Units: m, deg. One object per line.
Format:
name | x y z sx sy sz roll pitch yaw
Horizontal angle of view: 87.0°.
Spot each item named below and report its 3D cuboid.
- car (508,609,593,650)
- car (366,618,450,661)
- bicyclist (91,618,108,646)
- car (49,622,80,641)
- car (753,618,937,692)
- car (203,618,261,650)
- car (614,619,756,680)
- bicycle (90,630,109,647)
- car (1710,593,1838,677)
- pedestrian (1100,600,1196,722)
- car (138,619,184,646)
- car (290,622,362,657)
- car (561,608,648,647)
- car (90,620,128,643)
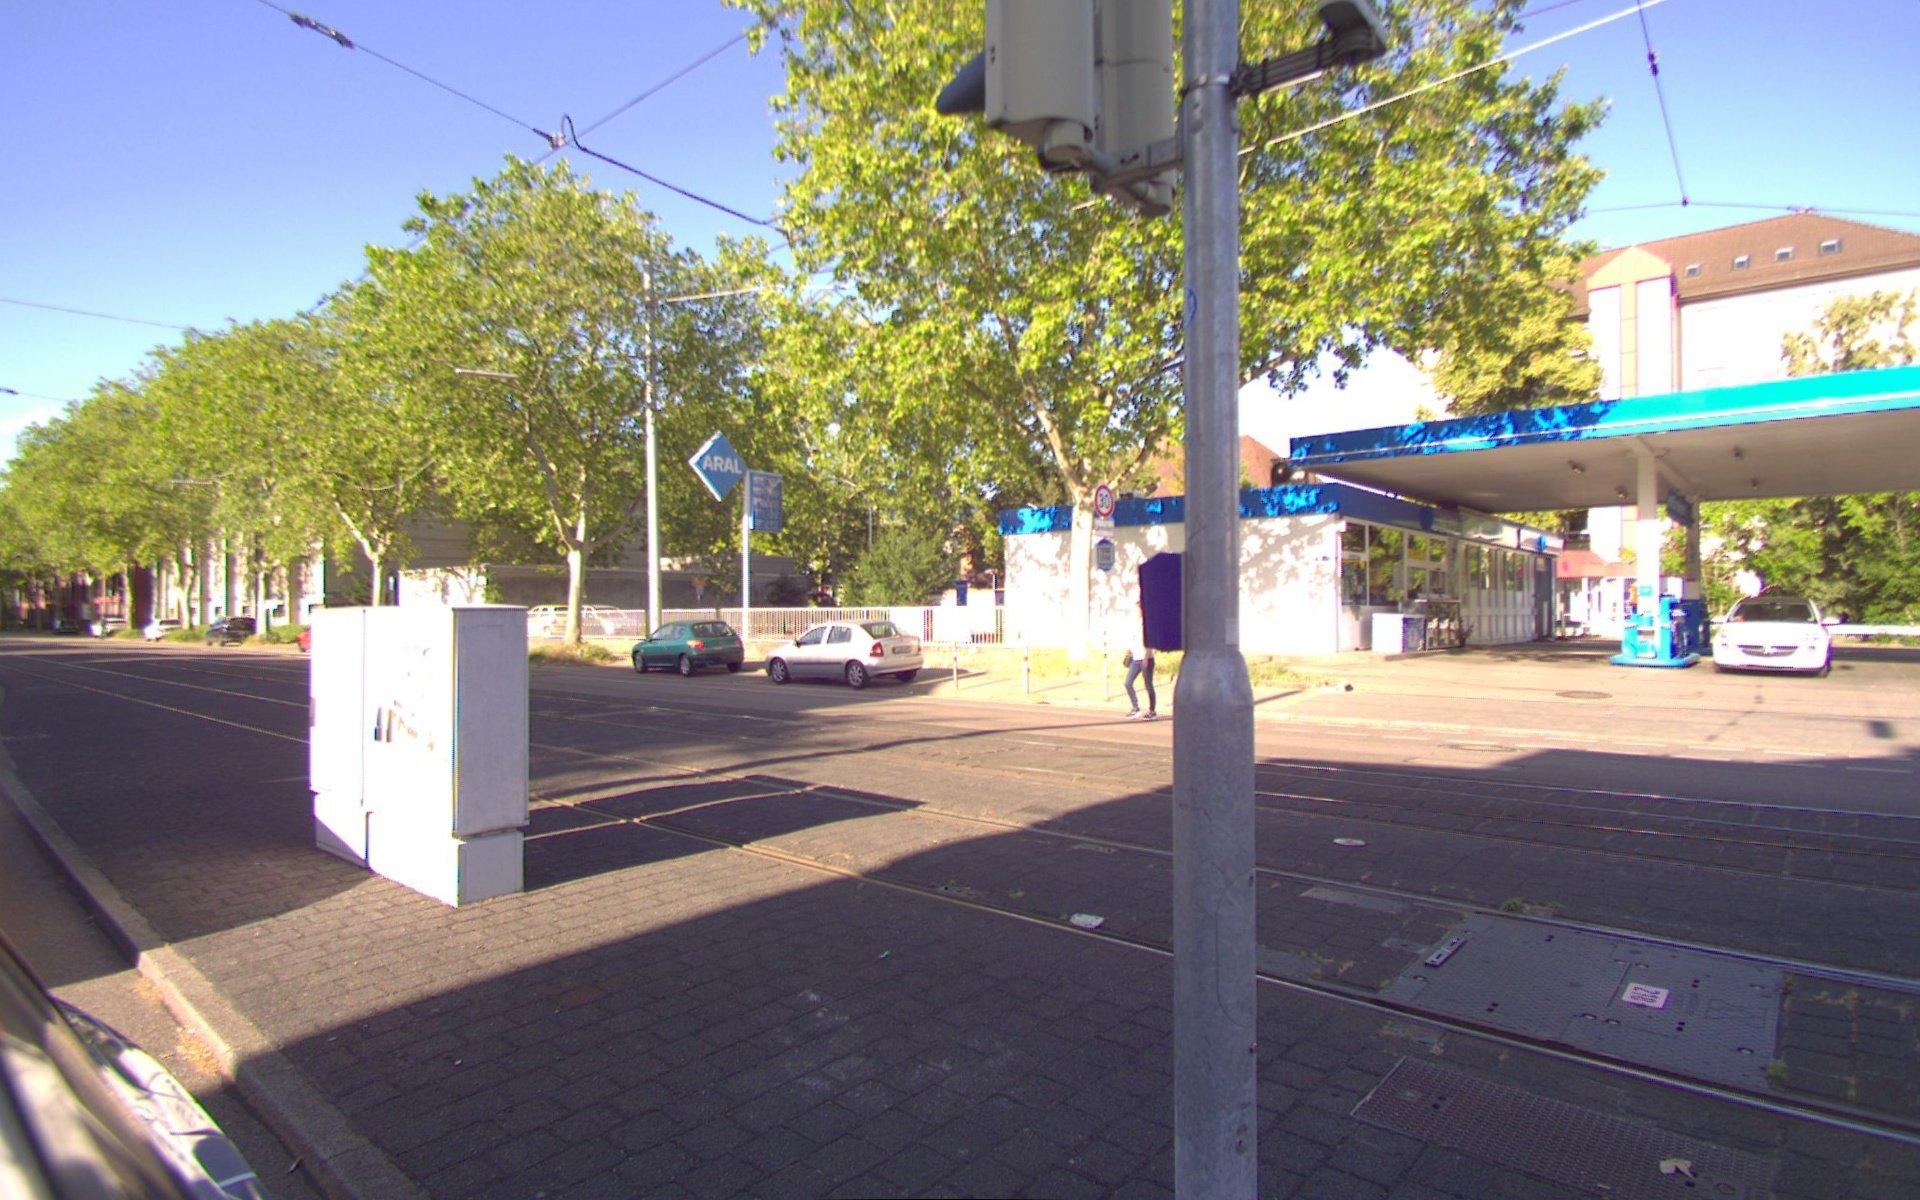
car | -17.136 1.191 42.280 4.002 1.545 1.820 -1 1 45
car | -21.967 1.537 40.186 4.002 1.545 1.820 -1 1 45
bicyclist | -59.051 2.197 69.461 1.070 1.878 0.711 -1 -2 41
car | -85.042 2.939 96.101 4.098 1.686 1.821 -1 1 44
car | -2.625 1.174 22.645 3.997 1.418 1.823 -1 1 40
car | -40.658 1.880 56.481 4.098 1.628 1.821 -1 1 44
car | -7.432 1.272 27.134 4.138 1.418 1.820 -1 1 45
bicycle | -59.034 2.664 69.426 2.532 1.129 0.645 -1 -1 41
car | 16.022 0.639 19.878 1.780 1.475 3.946 -1 -1 40
pedestrian | 2.606 0.828 14.052 1.087 1.631 0.718 1 -2 -17
car | -53.841 2.155 68.206 4.098 1.686 1.821 -1 1 44
car | -28.967 1.769 46.180 4.001 1.418 1.821 -1 1 44
car | -15.395 1.168 43.772 3.999 1.545 1.822 -1 1 42
car | -66.945 2.482 79.578 4.098 1.686 1.821 -1 1 44
